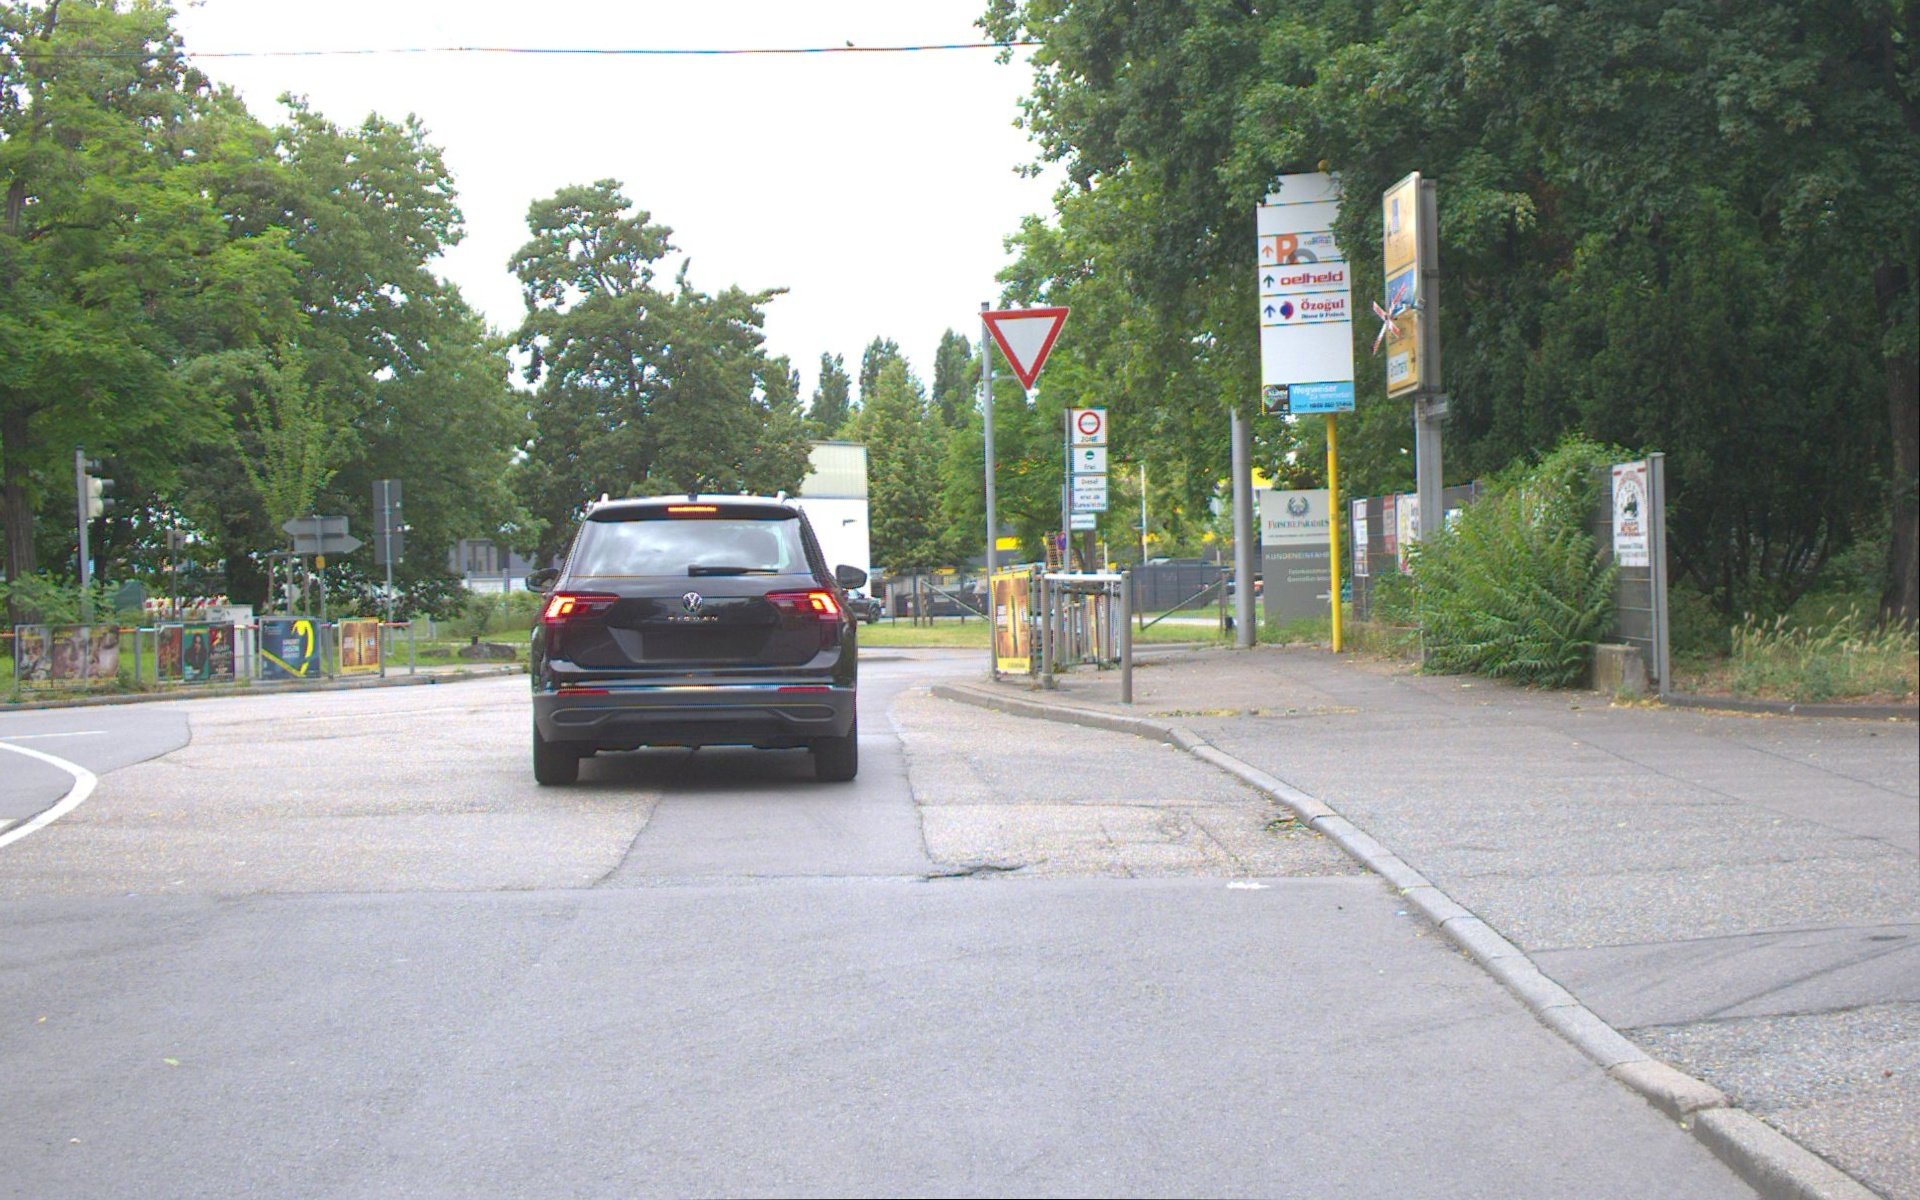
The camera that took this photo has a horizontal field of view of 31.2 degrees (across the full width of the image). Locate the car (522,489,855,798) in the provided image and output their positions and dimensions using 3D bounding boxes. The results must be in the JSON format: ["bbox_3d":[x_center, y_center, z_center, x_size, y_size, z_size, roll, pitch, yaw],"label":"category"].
[{"bbox_3d":[-1.597,0.195,20.034,1.739,1.612,3.642,-1,1,-5],"label":"car"}]

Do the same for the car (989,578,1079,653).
[{"bbox_3d":[1.707,0.338,78.652,1.659,1.569,3.828,-3,0,6],"label":"car"}]
